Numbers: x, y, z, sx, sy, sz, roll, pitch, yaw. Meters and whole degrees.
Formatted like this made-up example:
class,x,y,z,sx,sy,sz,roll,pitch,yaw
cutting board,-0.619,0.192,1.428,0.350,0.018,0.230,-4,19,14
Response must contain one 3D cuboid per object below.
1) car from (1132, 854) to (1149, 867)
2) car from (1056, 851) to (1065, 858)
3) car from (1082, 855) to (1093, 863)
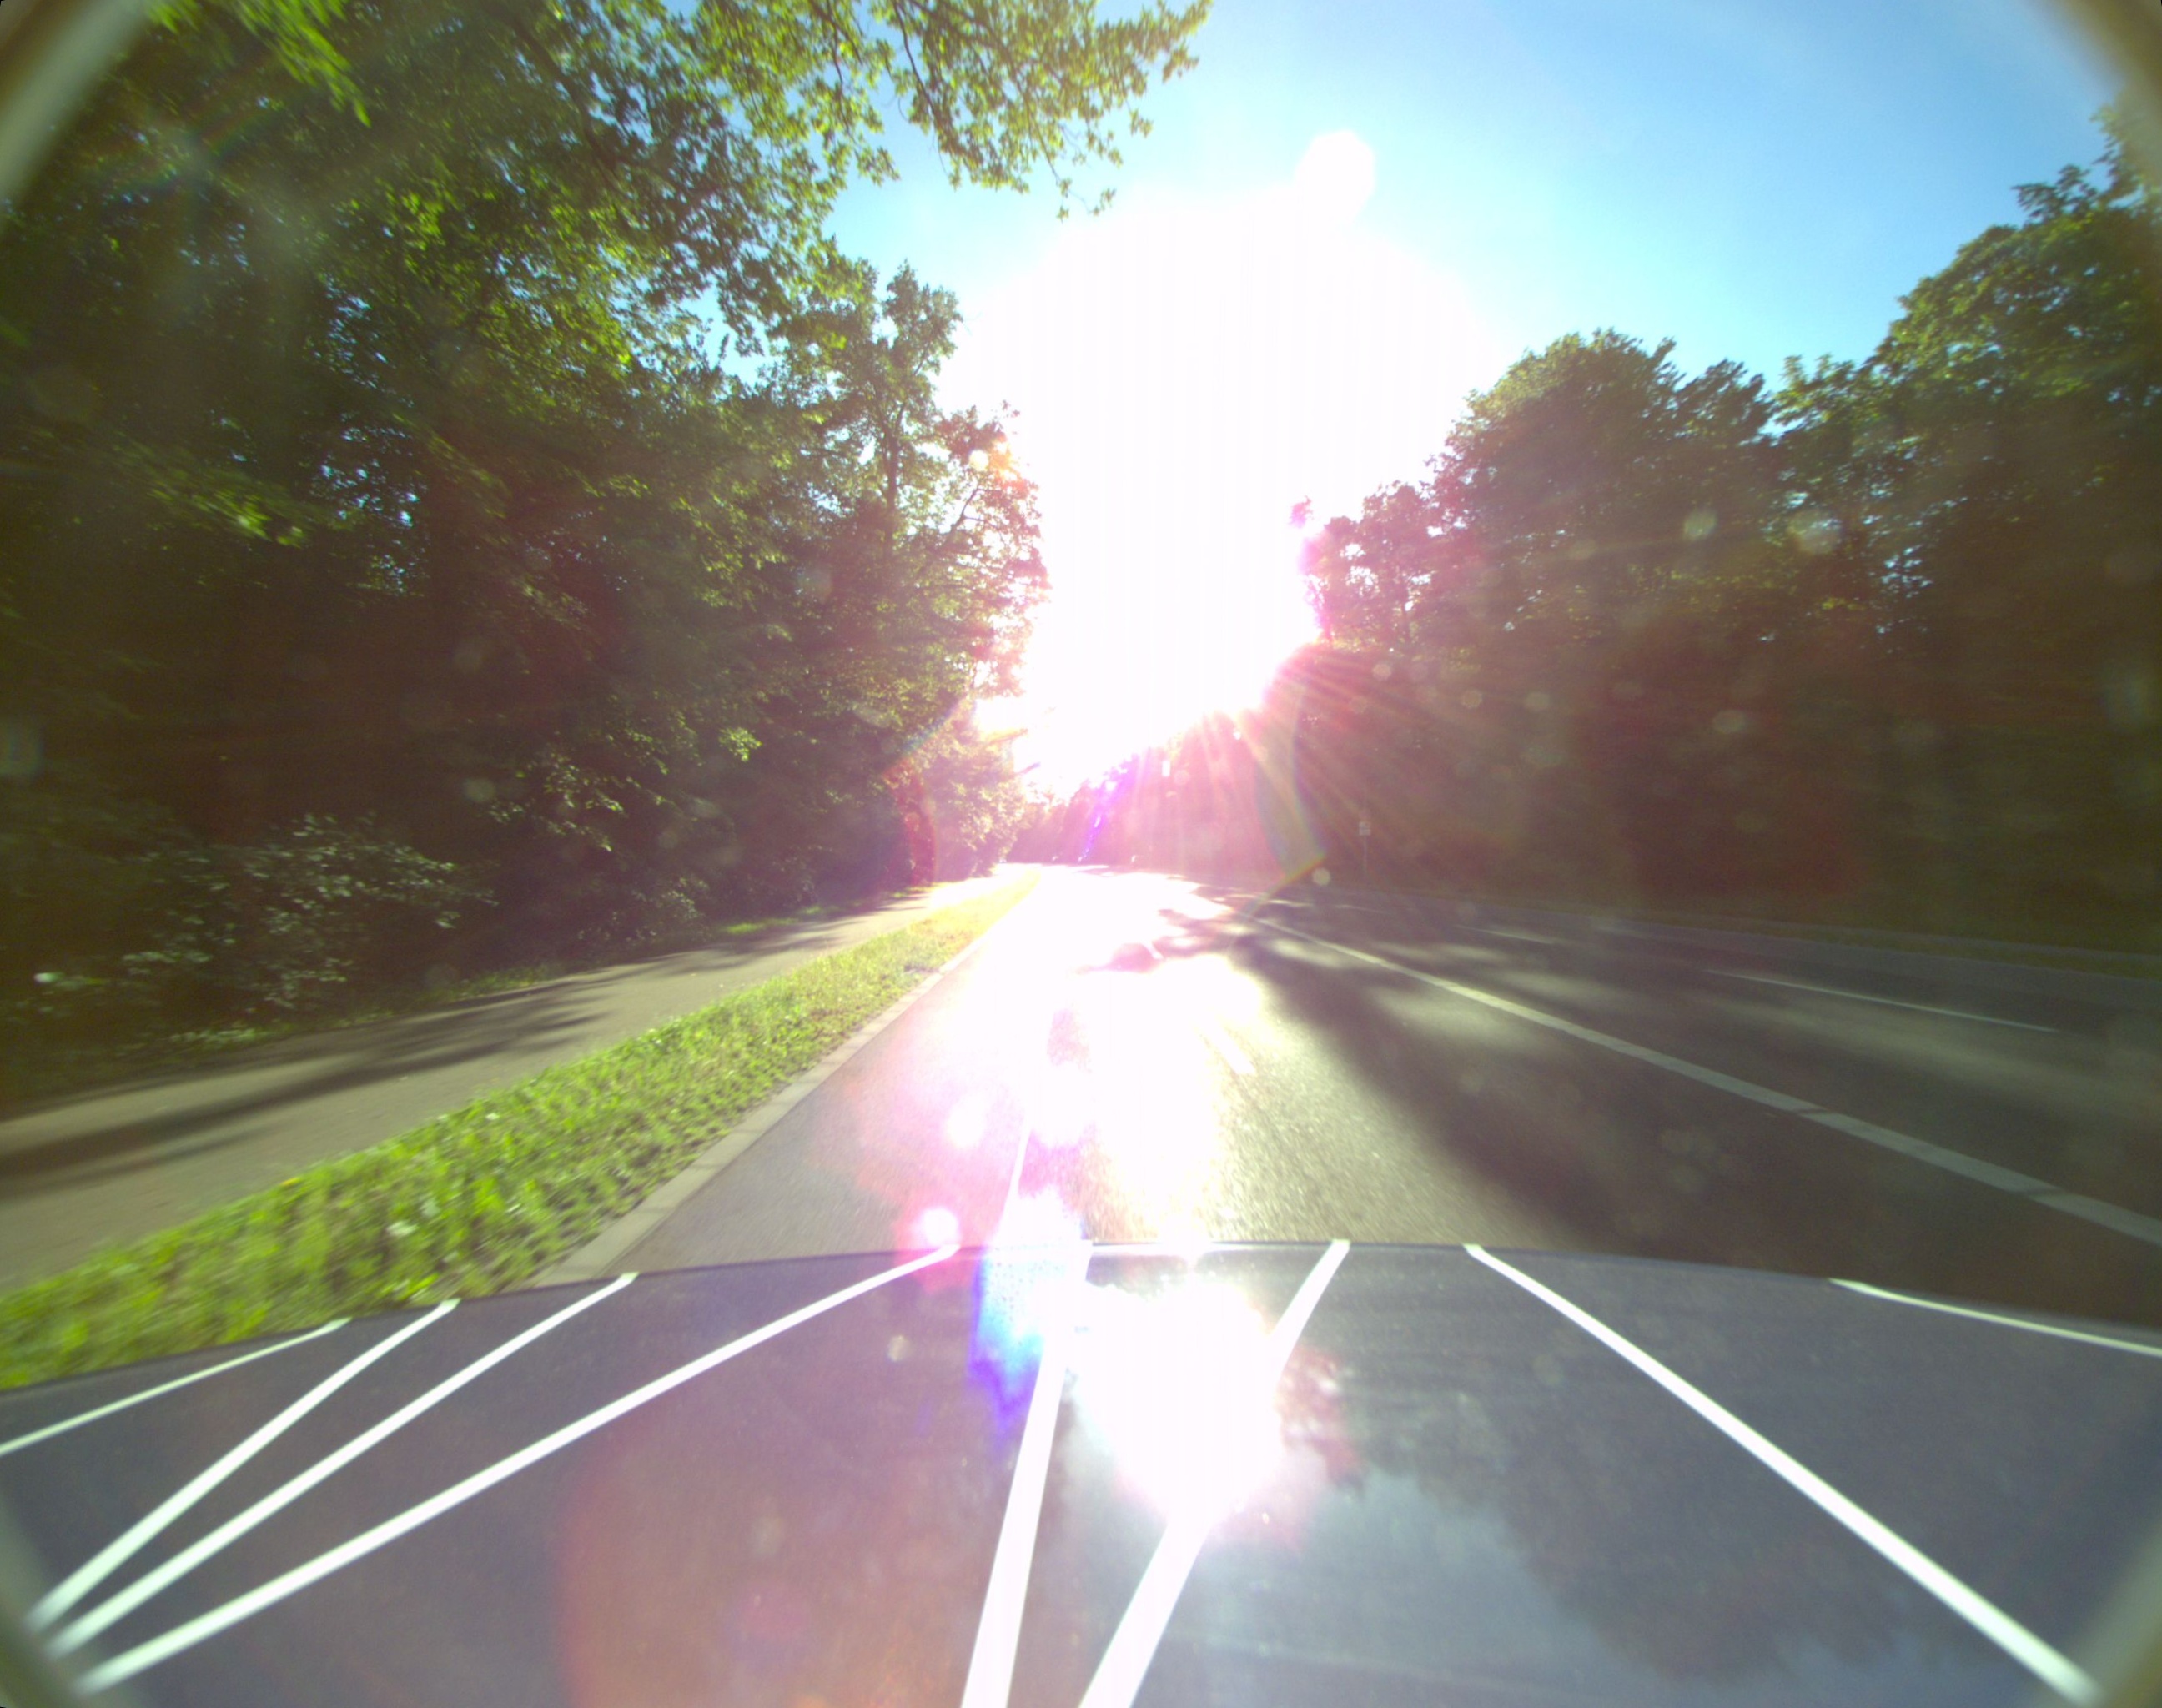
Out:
class,x,y,z,sx,sy,sz,roll,pitch,yaw
car,6.672,0.742,85.448,1.499,1.436,3.499,-2,0,-2
car,-5.186,0.153,188.712,1.813,1.653,4.518,-1,0,-8
car,1.228,0.942,143.401,1.715,1.415,4.129,-1,0,-3
